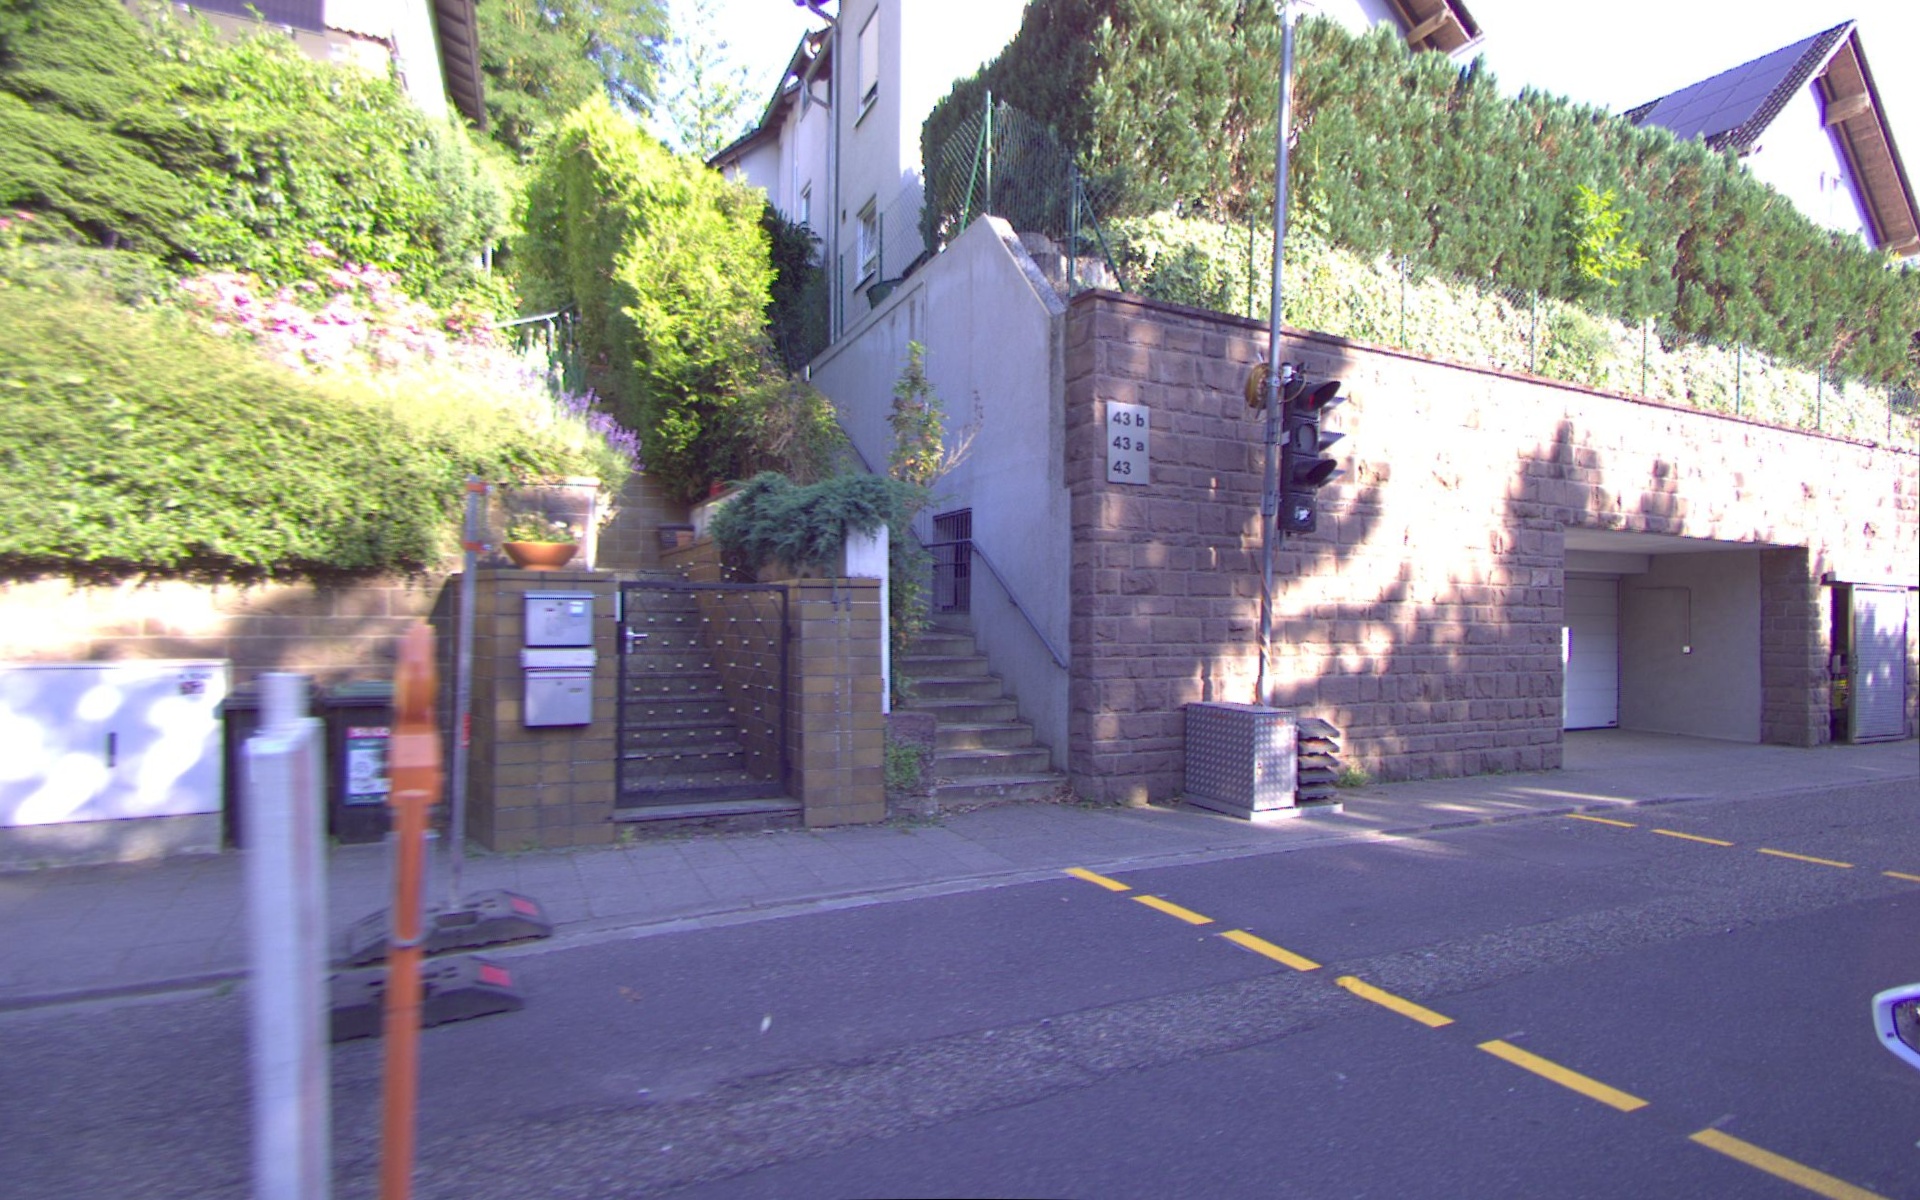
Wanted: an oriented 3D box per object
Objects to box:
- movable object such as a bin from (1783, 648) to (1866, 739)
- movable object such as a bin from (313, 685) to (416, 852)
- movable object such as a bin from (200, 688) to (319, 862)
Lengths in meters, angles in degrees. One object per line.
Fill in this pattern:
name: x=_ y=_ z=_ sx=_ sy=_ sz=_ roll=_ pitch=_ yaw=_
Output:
movable object such as a bin: x=11.836 y=1.257 z=13.760 sx=0.657 sy=1.191 sz=0.656 roll=1 pitch=-1 yaw=-26
movable object such as a bin: x=-3.540 y=0.978 z=6.002 sx=0.494 sy=0.896 sz=0.454 roll=1 pitch=0 yaw=-28
movable object such as a bin: x=-3.997 y=0.976 z=5.756 sx=0.494 sy=0.896 sz=0.454 roll=1 pitch=0 yaw=-28
